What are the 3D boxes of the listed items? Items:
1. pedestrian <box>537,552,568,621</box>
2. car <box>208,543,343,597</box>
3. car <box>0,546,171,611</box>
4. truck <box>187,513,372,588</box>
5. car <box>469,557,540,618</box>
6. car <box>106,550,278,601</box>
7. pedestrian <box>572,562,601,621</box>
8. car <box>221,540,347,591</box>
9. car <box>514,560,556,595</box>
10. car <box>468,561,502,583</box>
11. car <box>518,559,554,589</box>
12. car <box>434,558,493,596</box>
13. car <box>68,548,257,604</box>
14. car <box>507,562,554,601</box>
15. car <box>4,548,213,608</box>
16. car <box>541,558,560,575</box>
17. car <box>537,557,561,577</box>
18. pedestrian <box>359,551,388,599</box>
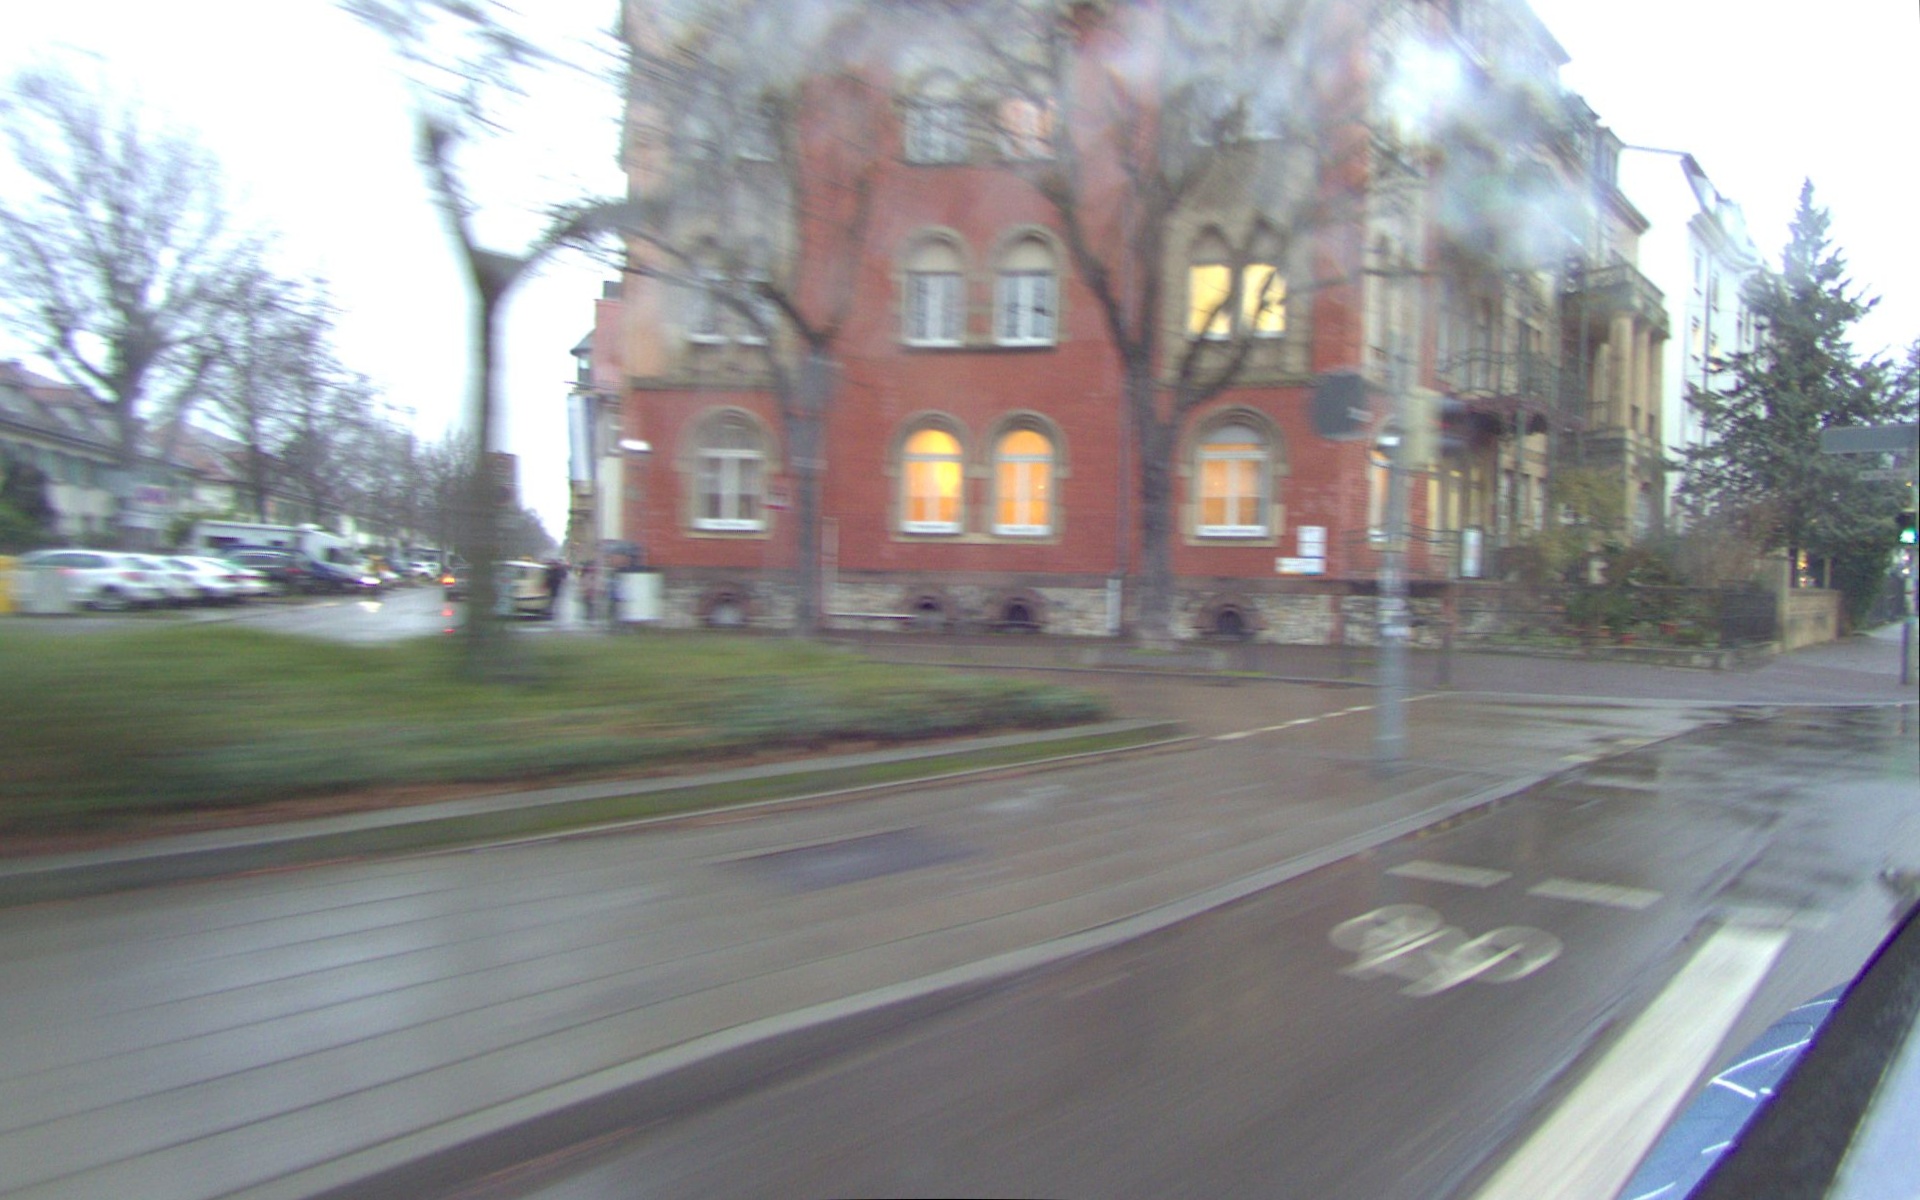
[{"bbox_3d":[-9.235,-0.295,22.938,0.630,1.546,0.548,1,0,-21],"label":"pedestrian"},{"bbox_3d":[-26.245,-1.158,38.941,3.916,1.957,1.855,1,1,-15],"label":"car"},{"bbox_3d":[-22.038,-0.537,24.749,3.916,1.504,1.855,1,1,-15],"label":"car"},{"bbox_3d":[-30.541,-2.168,45.761,6.594,3.130,2.638,0,2,-24],"label":"truck"},{"bbox_3d":[-12.256,-0.379,27.375,1.613,1.514,4.009,1,2,-23],"label":"car"},{"bbox_3d":[-24.270,-0.780,32.133,3.916,1.494,1.855,1,1,-15],"label":"car"},{"bbox_3d":[-8.563,-0.198,23.205,0.596,1.333,0.548,1,0,-21],"label":"pedestrian"},{"bbox_3d":[-28.851,-1.468,43.375,4.238,2.038,2.004,0,2,-26],"label":"car"},{"bbox_3d":[-19.897,-1.095,47.383,1.690,1.526,4.009,1,2,-23],"label":"car"},{"bbox_3d":[-28.662,-1.728,61.109,1.732,1.228,3.853,0,2,-23],"label":"car"},{"bbox_3d":[-22.531,-1.413,53.807,1.690,1.517,4.009,1,2,-23],"label":"car"},{"bbox_3d":[-20.992,-0.925,42.931,1.930,1.498,4.007,0,-1,-21],"label":"car"},{"bbox_3d":[-23.229,-0.695,29.643,3.916,1.494,1.855,1,1,-15],"label":"car"},{"bbox_3d":[-16.845,-0.767,39.733,1.613,1.415,4.009,1,2,-23],"label":"car"},{"bbox_3d":[-22.845,-0.597,27.323,3.916,1.494,1.855,1,1,-15],"label":"car"},{"bbox_3d":[-39.515,-3.218,97.696,1.541,1.590,4.009,1,2,-21],"label":"car"},{"bbox_3d":[-33.034,-2.661,81.262,1.690,1.590,4.009,1,2,-23],"label":"car"},{"bbox_3d":[-23.351,-1.000,40.313,0.797,1.887,0.880,1,1,-16],"label":"pedestrian"}]
